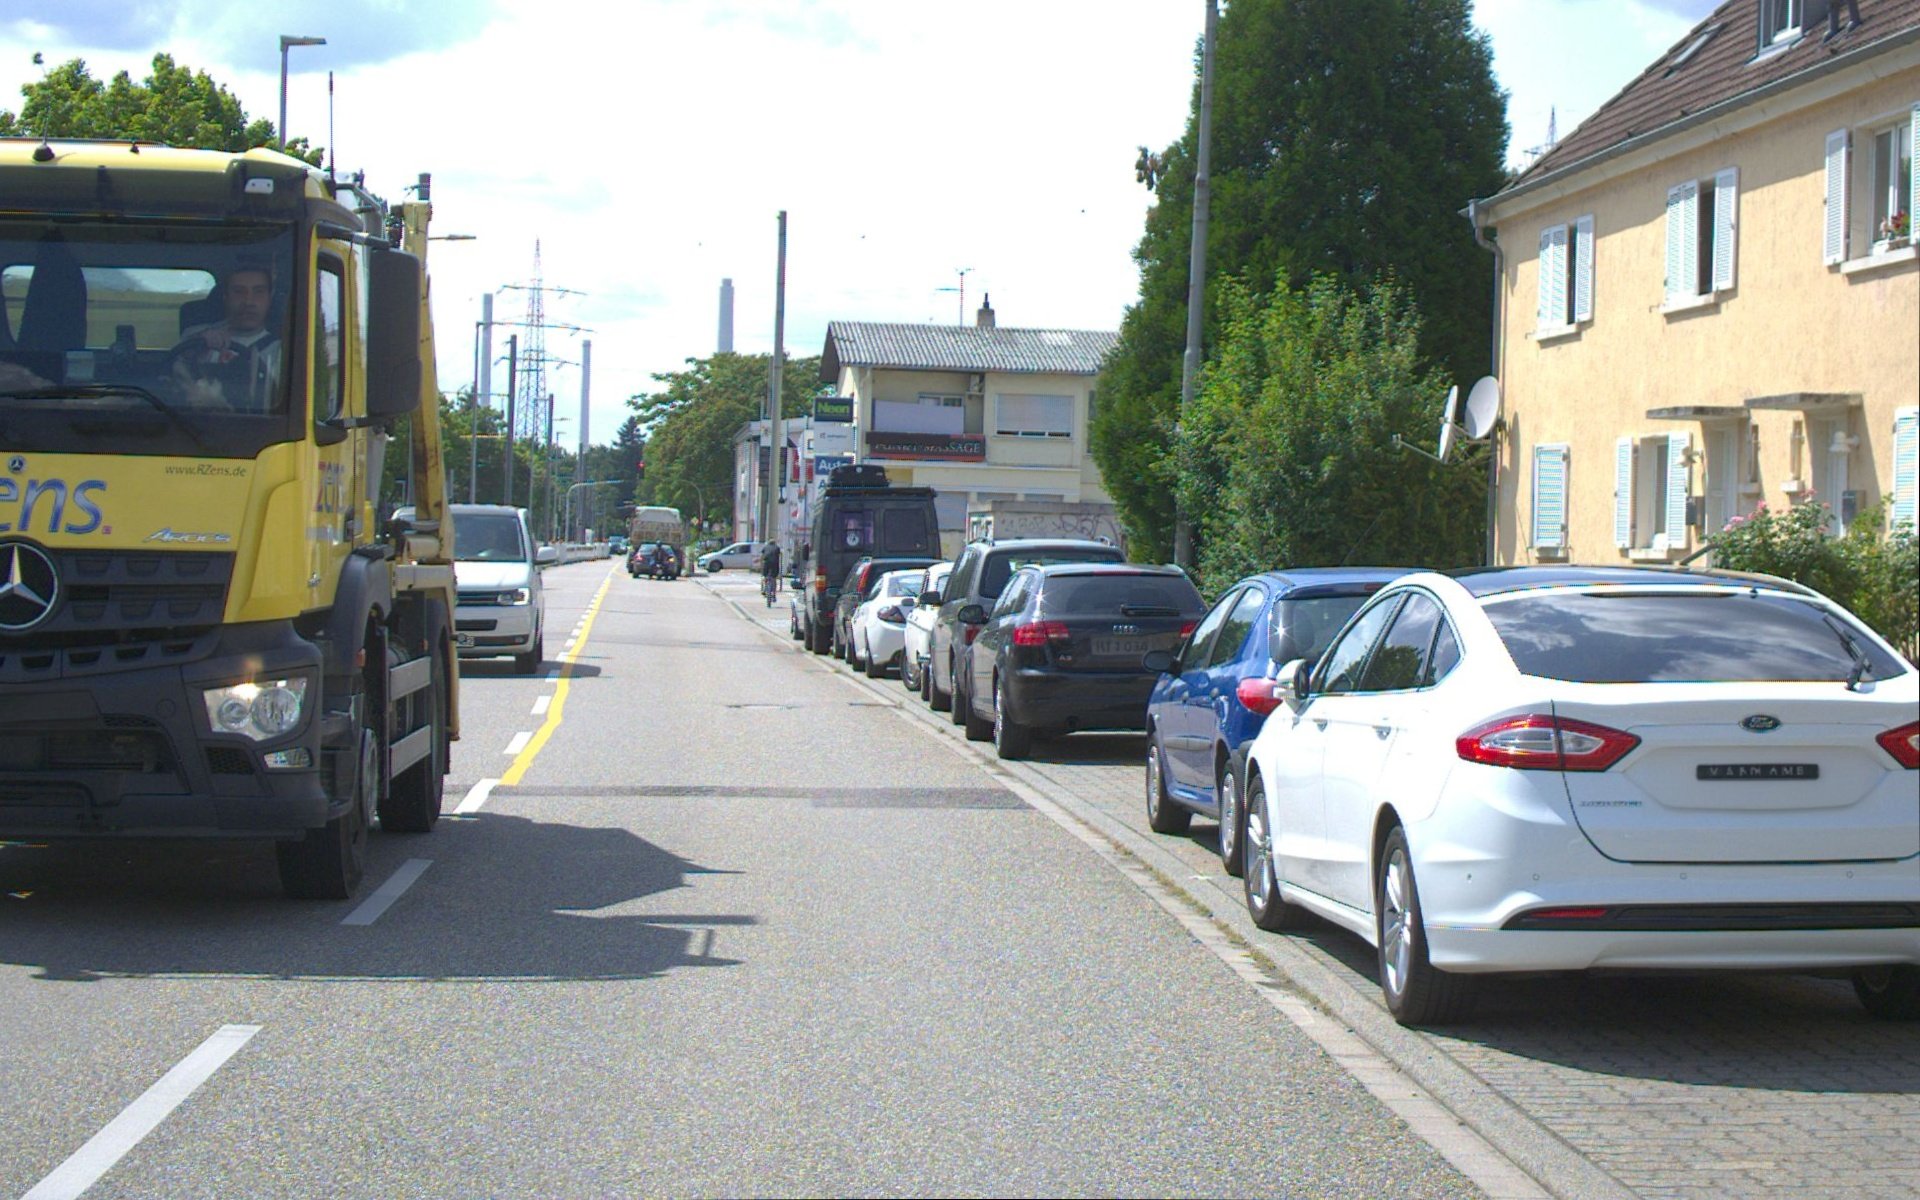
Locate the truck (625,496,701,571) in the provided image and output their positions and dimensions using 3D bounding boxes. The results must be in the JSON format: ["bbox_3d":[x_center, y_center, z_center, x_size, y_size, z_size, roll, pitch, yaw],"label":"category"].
[{"bbox_3d":[-14.198,-3.122,163.616,3.220,3.390,11.356,1,1,-7],"label":"truck"}]

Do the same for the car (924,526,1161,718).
[{"bbox_3d":[0.693,0.147,31.627,1.763,1.637,4.001,0,1,-5],"label":"car"}]

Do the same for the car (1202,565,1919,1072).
[{"bbox_3d":[2.159,0.610,12.386,1.798,1.453,4.766,0,1,-5],"label":"car"}]

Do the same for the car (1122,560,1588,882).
[{"bbox_3d":[1.897,0.527,17.646,1.620,1.412,4.001,0,1,-5],"label":"car"}]

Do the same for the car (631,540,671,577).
[{"bbox_3d":[-13.185,-1.785,146.631,1.568,1.493,4.150,1,1,-7],"label":"car"}]

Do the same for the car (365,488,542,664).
[{"bbox_3d":[-5.995,-0.326,41.202,1.928,1.952,5.377,0,1,-7],"label":"car"}]

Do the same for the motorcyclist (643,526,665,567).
[{"bbox_3d":[-12.583,-2.197,141.343,0.883,1.661,1.109,1,1,-6],"label":"motorcyclist"}]

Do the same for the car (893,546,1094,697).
[{"bbox_3d":[0.294,0.183,36.452,1.763,1.471,4.001,0,1,-5],"label":"car"}]

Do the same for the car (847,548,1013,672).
[{"bbox_3d":[-0.423,0.088,42.723,1.763,1.435,4.001,0,1,-5],"label":"car"}]

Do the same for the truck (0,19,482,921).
[{"bbox_3d":[-3.905,-0.569,16.703,2.559,3.447,7.151,0,1,-3],"label":"truck"}]

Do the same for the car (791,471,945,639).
[{"bbox_3d":[-1.507,-0.731,53.942,1.959,2.470,6.061,0,1,-6],"label":"car"}]

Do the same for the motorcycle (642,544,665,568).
[{"bbox_3d":[-12.616,-1.823,141.608,0.883,0.921,2.616,1,1,-6],"label":"motorcycle"}]

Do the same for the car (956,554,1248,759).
[{"bbox_3d":[1.011,0.372,26.438,1.763,1.412,4.001,0,1,-5],"label":"car"}]

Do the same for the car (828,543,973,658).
[{"bbox_3d":[-0.871,-0.030,47.884,1.763,1.497,4.001,0,1,-5],"label":"car"}]

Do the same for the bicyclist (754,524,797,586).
[{"bbox_3d":[-4.754,-1.166,88.527,0.994,1.564,1.140,1,1,-8],"label":"bicyclist"}]

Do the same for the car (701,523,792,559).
[{"bbox_3d":[-11.435,-3.180,184.223,4.640,1.816,1.836,1,1,-10],"label":"car"}]

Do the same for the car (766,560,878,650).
[{"bbox_3d":[-2.493,0.060,61.392,1.763,1.497,4.001,0,1,-6],"label":"car"}]

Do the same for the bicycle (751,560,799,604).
[{"bbox_3d":[-4.765,-0.477,88.485,0.994,1.045,2.813,1,1,-8],"label":"bicycle"}]
